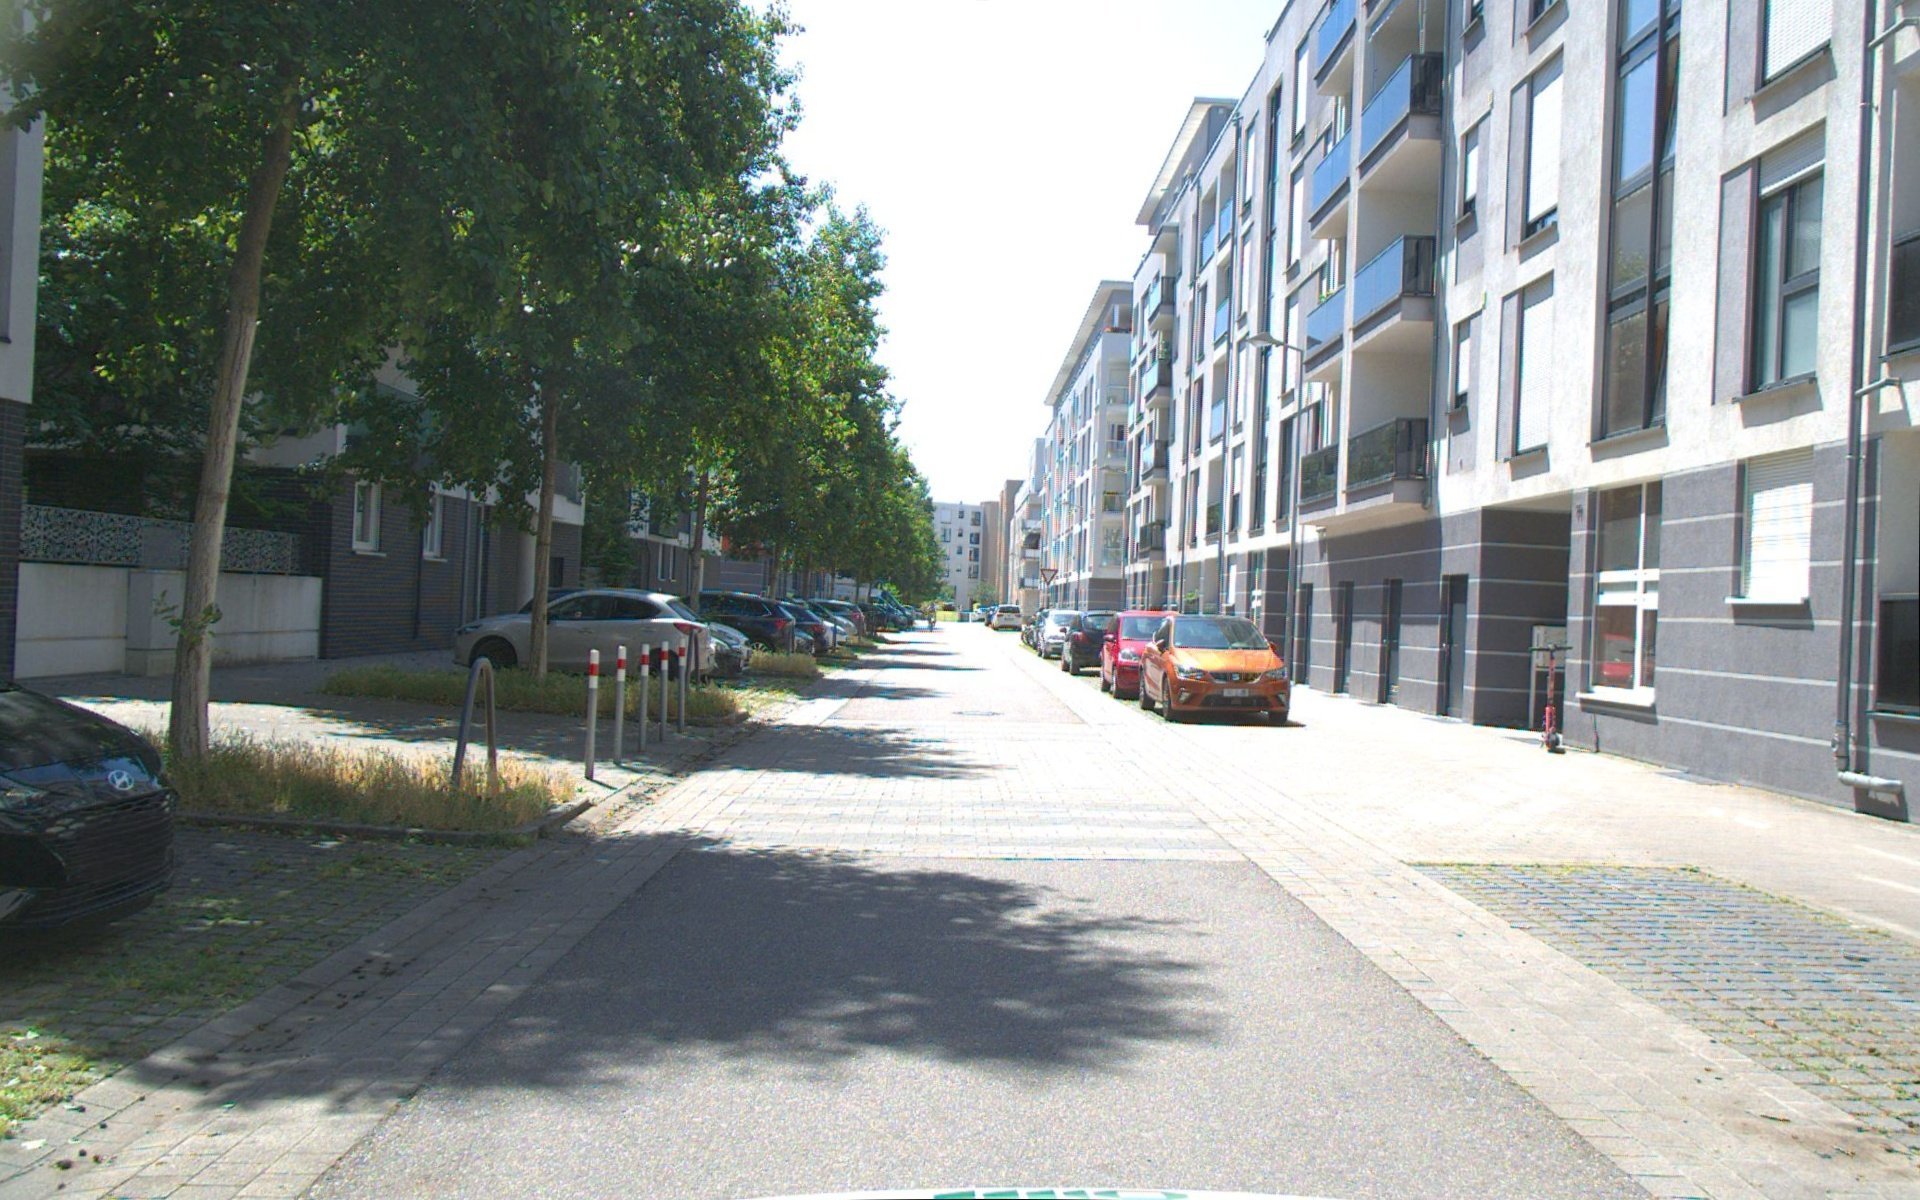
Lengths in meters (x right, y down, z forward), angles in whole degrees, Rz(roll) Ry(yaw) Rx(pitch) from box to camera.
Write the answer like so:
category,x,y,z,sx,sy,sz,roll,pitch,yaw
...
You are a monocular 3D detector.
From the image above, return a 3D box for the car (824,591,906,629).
category,x,y,z,sx,sy,sz,roll,pitch,yaw
car,-6.101,0.616,106.539,5.040,2.156,2.311,3,0,-1

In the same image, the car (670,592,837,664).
category,x,y,z,sx,sy,sz,roll,pitch,yaw
car,-5.046,0.681,40.830,3.897,1.470,1.774,4,-1,-4

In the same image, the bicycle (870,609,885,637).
category,x,y,z,sx,sy,sz,roll,pitch,yaw
bicycle,-3.533,0.978,70.769,0.364,1.201,1.815,2,0,-12

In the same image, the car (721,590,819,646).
category,x,y,z,sx,sy,sz,roll,pitch,yaw
car,-6.103,0.568,53.254,2.874,1.526,1.848,5,0,-2

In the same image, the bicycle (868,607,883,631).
category,x,y,z,sx,sy,sz,roll,pitch,yaw
bicycle,-4.557,1.013,89.243,0.559,1.194,1.766,5,1,-7

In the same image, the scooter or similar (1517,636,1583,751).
category,x,y,z,sx,sy,sz,roll,pitch,yaw
scooter or similar,6.911,1.070,19.413,0.534,1.247,1.530,3,0,14

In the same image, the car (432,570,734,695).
category,x,y,z,sx,sy,sz,roll,pitch,yaw
car,-5.771,0.496,25.737,4.167,1.544,1.924,5,0,-1

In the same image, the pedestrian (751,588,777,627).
category,x,y,z,sx,sy,sz,roll,pitch,yaw
pedestrian,-8.815,0.352,74.421,0.979,1.720,0.832,2,0,1

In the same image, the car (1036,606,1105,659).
category,x,y,z,sx,sy,sz,roll,pitch,yaw
car,3.362,0.977,50.870,1.796,1.531,4.350,1,0,0

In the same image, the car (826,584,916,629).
category,x,y,z,sx,sy,sz,roll,pitch,yaw
car,-6.000,0.432,111.972,5.901,2.865,2.605,2,0,-1

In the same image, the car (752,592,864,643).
category,x,y,z,sx,sy,sz,roll,pitch,yaw
car,-5.521,0.635,60.422,3.858,1.580,1.872,4,0,-1

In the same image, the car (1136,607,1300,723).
category,x,y,z,sx,sy,sz,roll,pitch,yaw
car,3.666,0.882,24.181,1.702,1.513,4.258,1,0,0

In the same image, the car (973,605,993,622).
category,x,y,z,sx,sy,sz,roll,pitch,yaw
car,2.442,1.383,175.278,1.953,1.704,3.999,2,0,-2

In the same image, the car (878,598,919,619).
category,x,y,z,sx,sy,sz,roll,pitch,yaw
car,-6.375,0.877,170.803,3.903,2.049,2.001,2,0,6

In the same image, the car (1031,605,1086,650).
category,x,y,z,sx,sy,sz,roll,pitch,yaw
car,3.487,0.950,59.189,1.703,1.511,4.228,1,0,0

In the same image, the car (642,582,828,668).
category,x,y,z,sx,sy,sz,roll,pitch,yaw
car,-5.135,0.563,38.186,3.905,1.679,1.918,4,0,1

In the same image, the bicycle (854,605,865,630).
category,x,y,z,sx,sy,sz,roll,pitch,yaw
bicycle,-5.436,0.938,89.495,0.508,1.225,1.751,4,1,-2

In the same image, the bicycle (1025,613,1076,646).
category,x,y,z,sx,sy,sz,roll,pitch,yaw
bicycle,3.440,1.117,62.833,1.833,1.239,0.715,1,-1,-4

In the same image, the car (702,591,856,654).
category,x,y,z,sx,sy,sz,roll,pitch,yaw
car,-5.186,0.641,47.845,4.273,1.740,1.999,0,0,-3

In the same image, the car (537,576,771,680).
category,x,y,z,sx,sy,sz,roll,pitch,yaw
car,-5.623,0.504,30.746,3.906,1.619,1.884,4,0,0

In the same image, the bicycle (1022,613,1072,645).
category,x,y,z,sx,sy,sz,roll,pitch,yaw
bicycle,3.432,1.130,64.936,1.888,1.239,0.459,1,-1,-10

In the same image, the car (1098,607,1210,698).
category,x,y,z,sx,sy,sz,roll,pitch,yaw
car,3.427,0.887,29.714,1.562,1.512,3.675,0,0,0

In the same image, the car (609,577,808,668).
category,x,y,z,sx,sy,sz,roll,pitch,yaw
car,-5.360,0.480,35.659,3.906,1.657,1.933,4,0,-1

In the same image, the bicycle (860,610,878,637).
category,x,y,z,sx,sy,sz,roll,pitch,yaw
bicycle,-3.887,0.994,70.738,0.426,1.147,1.973,2,0,-12

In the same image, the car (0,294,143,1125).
category,x,y,z,sx,sy,sz,roll,pitch,yaw
car,-5.097,0.201,3.846,5.232,2.147,2.187,2,0,1

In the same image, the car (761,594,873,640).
category,x,y,z,sx,sy,sz,roll,pitch,yaw
car,-5.446,0.681,63.318,4.098,1.512,1.957,3,-2,-4

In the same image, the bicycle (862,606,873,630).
category,x,y,z,sx,sy,sz,roll,pitch,yaw
bicycle,-4.980,0.965,89.246,0.425,1.225,1.700,4,1,0

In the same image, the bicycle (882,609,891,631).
category,x,y,z,sx,sy,sz,roll,pitch,yaw
bicycle,-3.981,1.090,89.467,0.456,1.161,1.925,2,0,-2

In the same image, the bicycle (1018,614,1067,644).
category,x,y,z,sx,sy,sz,roll,pitch,yaw
bicycle,3.283,1.139,65.884,1.882,1.153,0.609,1,-1,9

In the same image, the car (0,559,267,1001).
category,x,y,z,sx,sy,sz,roll,pitch,yaw
car,-4.916,0.523,6.540,3.550,1.507,1.677,4,0,-1

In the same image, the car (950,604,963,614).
category,x,y,z,sx,sy,sz,roll,pitch,yaw
car,-0.567,1.395,258.661,1.953,1.545,3.999,2,0,-1

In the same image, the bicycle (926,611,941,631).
category,x,y,z,sx,sy,sz,roll,pitch,yaw
bicycle,-1.628,1.291,101.038,0.880,1.149,2.039,2,0,-1

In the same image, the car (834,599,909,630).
category,x,y,z,sx,sy,sz,roll,pitch,yaw
car,-5.317,0.868,99.359,4.294,1.541,2.075,4,0,-1

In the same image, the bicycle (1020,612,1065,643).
category,x,y,z,sx,sy,sz,roll,pitch,yaw
bicycle,3.390,1.132,67.882,1.821,1.214,0.687,1,-1,2

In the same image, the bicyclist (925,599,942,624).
category,x,y,z,sx,sy,sz,roll,pitch,yaw
bicyclist,-1.614,0.700,101.024,0.934,1.485,0.799,2,0,-1

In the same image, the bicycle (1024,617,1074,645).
category,x,y,z,sx,sy,sz,roll,pitch,yaw
bicycle,3.468,1.204,64.273,1.885,1.053,0.559,1,-1,-4

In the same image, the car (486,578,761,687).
category,x,y,z,sx,sy,sz,roll,pitch,yaw
car,-5.664,0.534,28.184,4.229,1.501,1.792,4,0,-1

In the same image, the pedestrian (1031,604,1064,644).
category,x,y,z,sx,sy,sz,roll,pitch,yaw
pedestrian,3.438,0.935,65.064,1.157,1.541,0.686,1,0,-10

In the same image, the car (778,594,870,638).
category,x,y,z,sx,sy,sz,roll,pitch,yaw
car,-5.572,0.658,68.235,3.556,1.547,1.831,4,0,-1

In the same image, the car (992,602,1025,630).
category,x,y,z,sx,sy,sz,roll,pitch,yaw
car,3.111,1.032,106.627,1.956,1.686,4.115,1,0,0

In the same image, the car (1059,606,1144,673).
category,x,y,z,sx,sy,sz,roll,pitch,yaw
car,3.324,0.900,39.482,1.609,1.488,4.117,0,0,-1

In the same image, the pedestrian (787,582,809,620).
category,x,y,z,sx,sy,sz,roll,pitch,yaw
pedestrian,-8.967,0.048,91.652,0.988,2.049,1.130,2,0,2

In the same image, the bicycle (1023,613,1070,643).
category,x,y,z,sx,sy,sz,roll,pitch,yaw
bicycle,3.417,1.115,65.519,1.806,1.168,0.458,1,-1,-20

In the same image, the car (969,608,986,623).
category,x,y,z,sx,sy,sz,roll,pitch,yaw
car,2.120,1.901,202.497,1.953,1.747,3.999,2,0,-1

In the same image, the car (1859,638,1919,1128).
category,x,y,z,sx,sy,sz,roll,pitch,yaw
car,3.747,0.865,3.012,1.808,1.441,4.426,2,0,0

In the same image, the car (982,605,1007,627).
category,x,y,z,sx,sy,sz,roll,pitch,yaw
car,2.642,1.202,126.730,1.721,1.579,4.001,3,0,3
